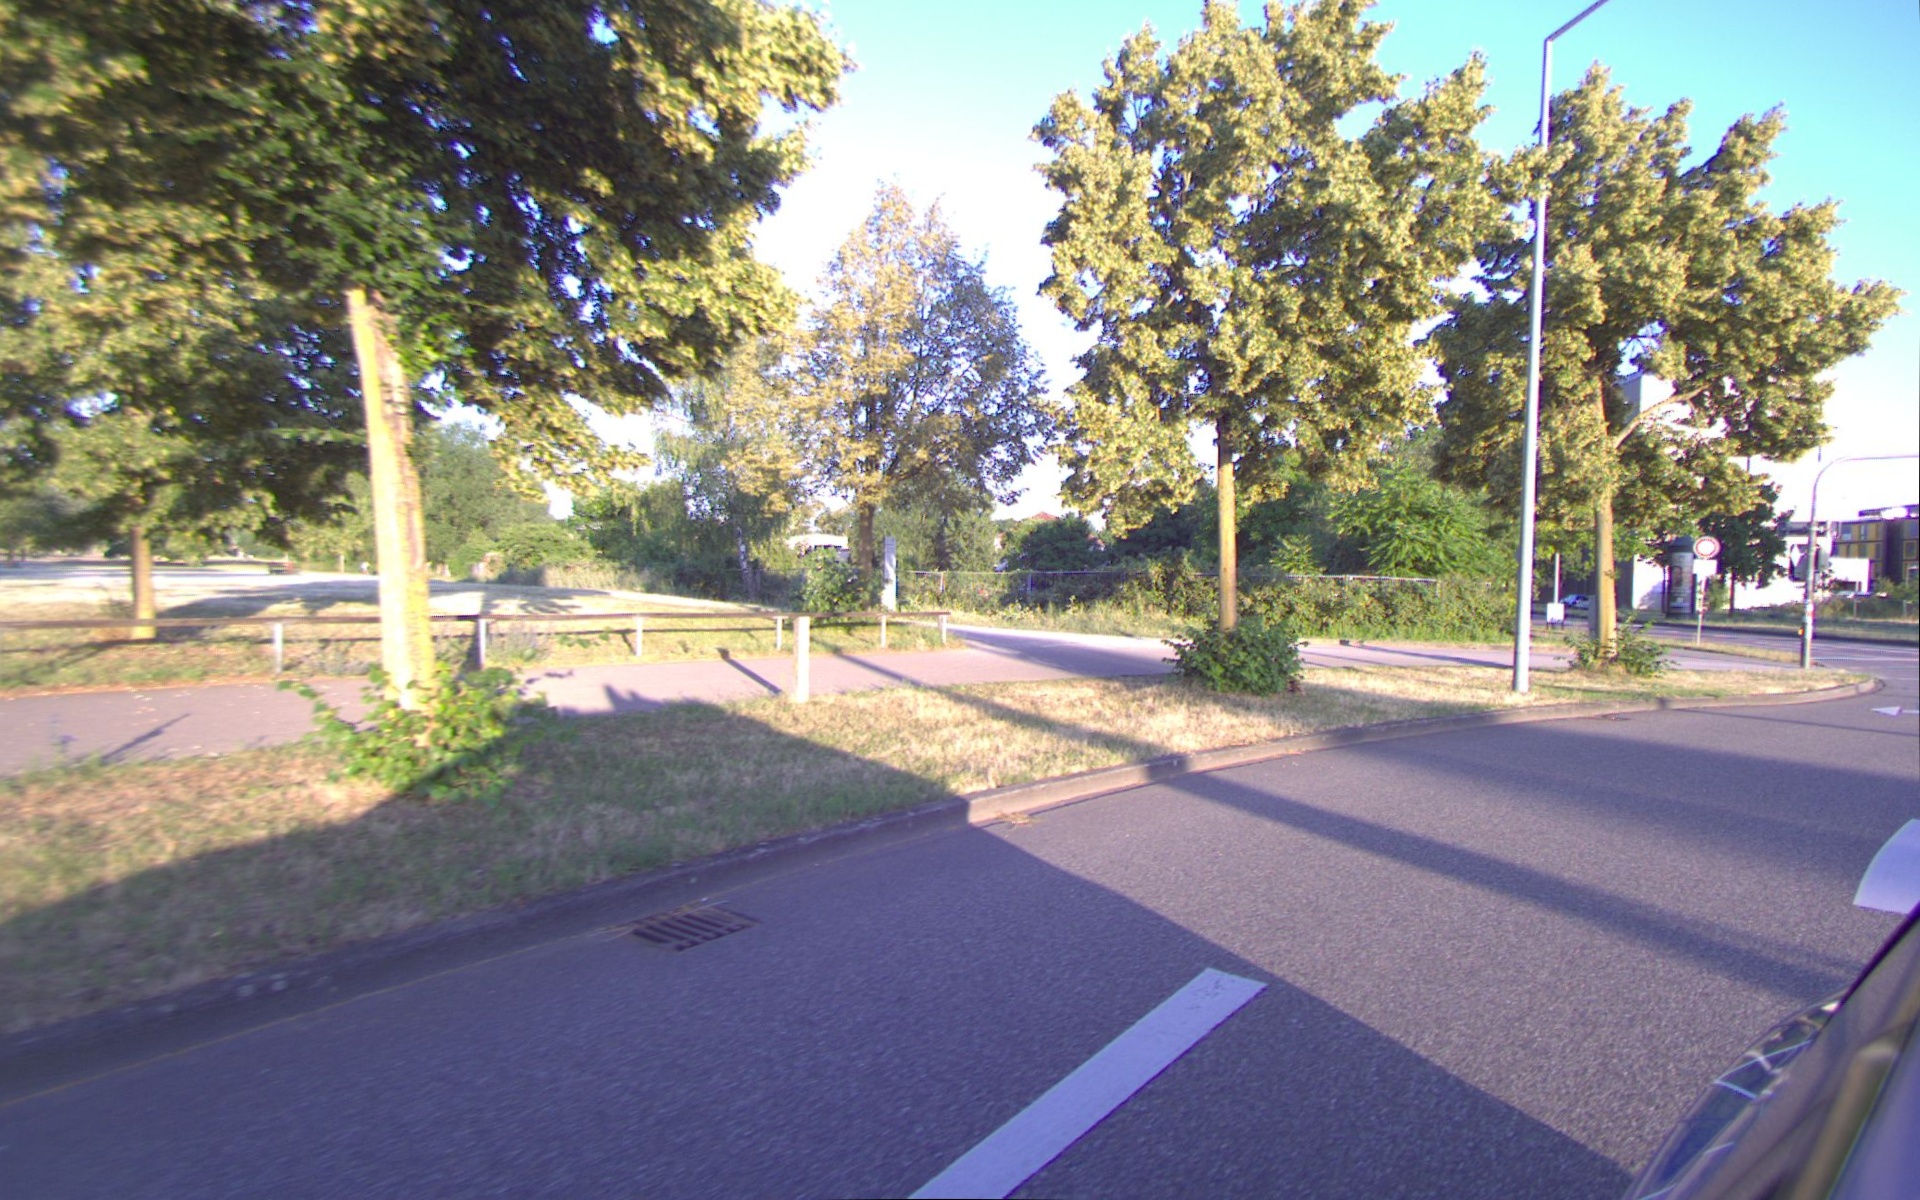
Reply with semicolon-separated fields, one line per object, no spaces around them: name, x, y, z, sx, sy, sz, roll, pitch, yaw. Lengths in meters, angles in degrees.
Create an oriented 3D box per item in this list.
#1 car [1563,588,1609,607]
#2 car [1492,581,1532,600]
car;56.640;-0.229;91.612;1.967;1.566;4.122;2;1;8
car;53.308;-0.930;97.810;1.967;1.772;4.122;2;1;8
